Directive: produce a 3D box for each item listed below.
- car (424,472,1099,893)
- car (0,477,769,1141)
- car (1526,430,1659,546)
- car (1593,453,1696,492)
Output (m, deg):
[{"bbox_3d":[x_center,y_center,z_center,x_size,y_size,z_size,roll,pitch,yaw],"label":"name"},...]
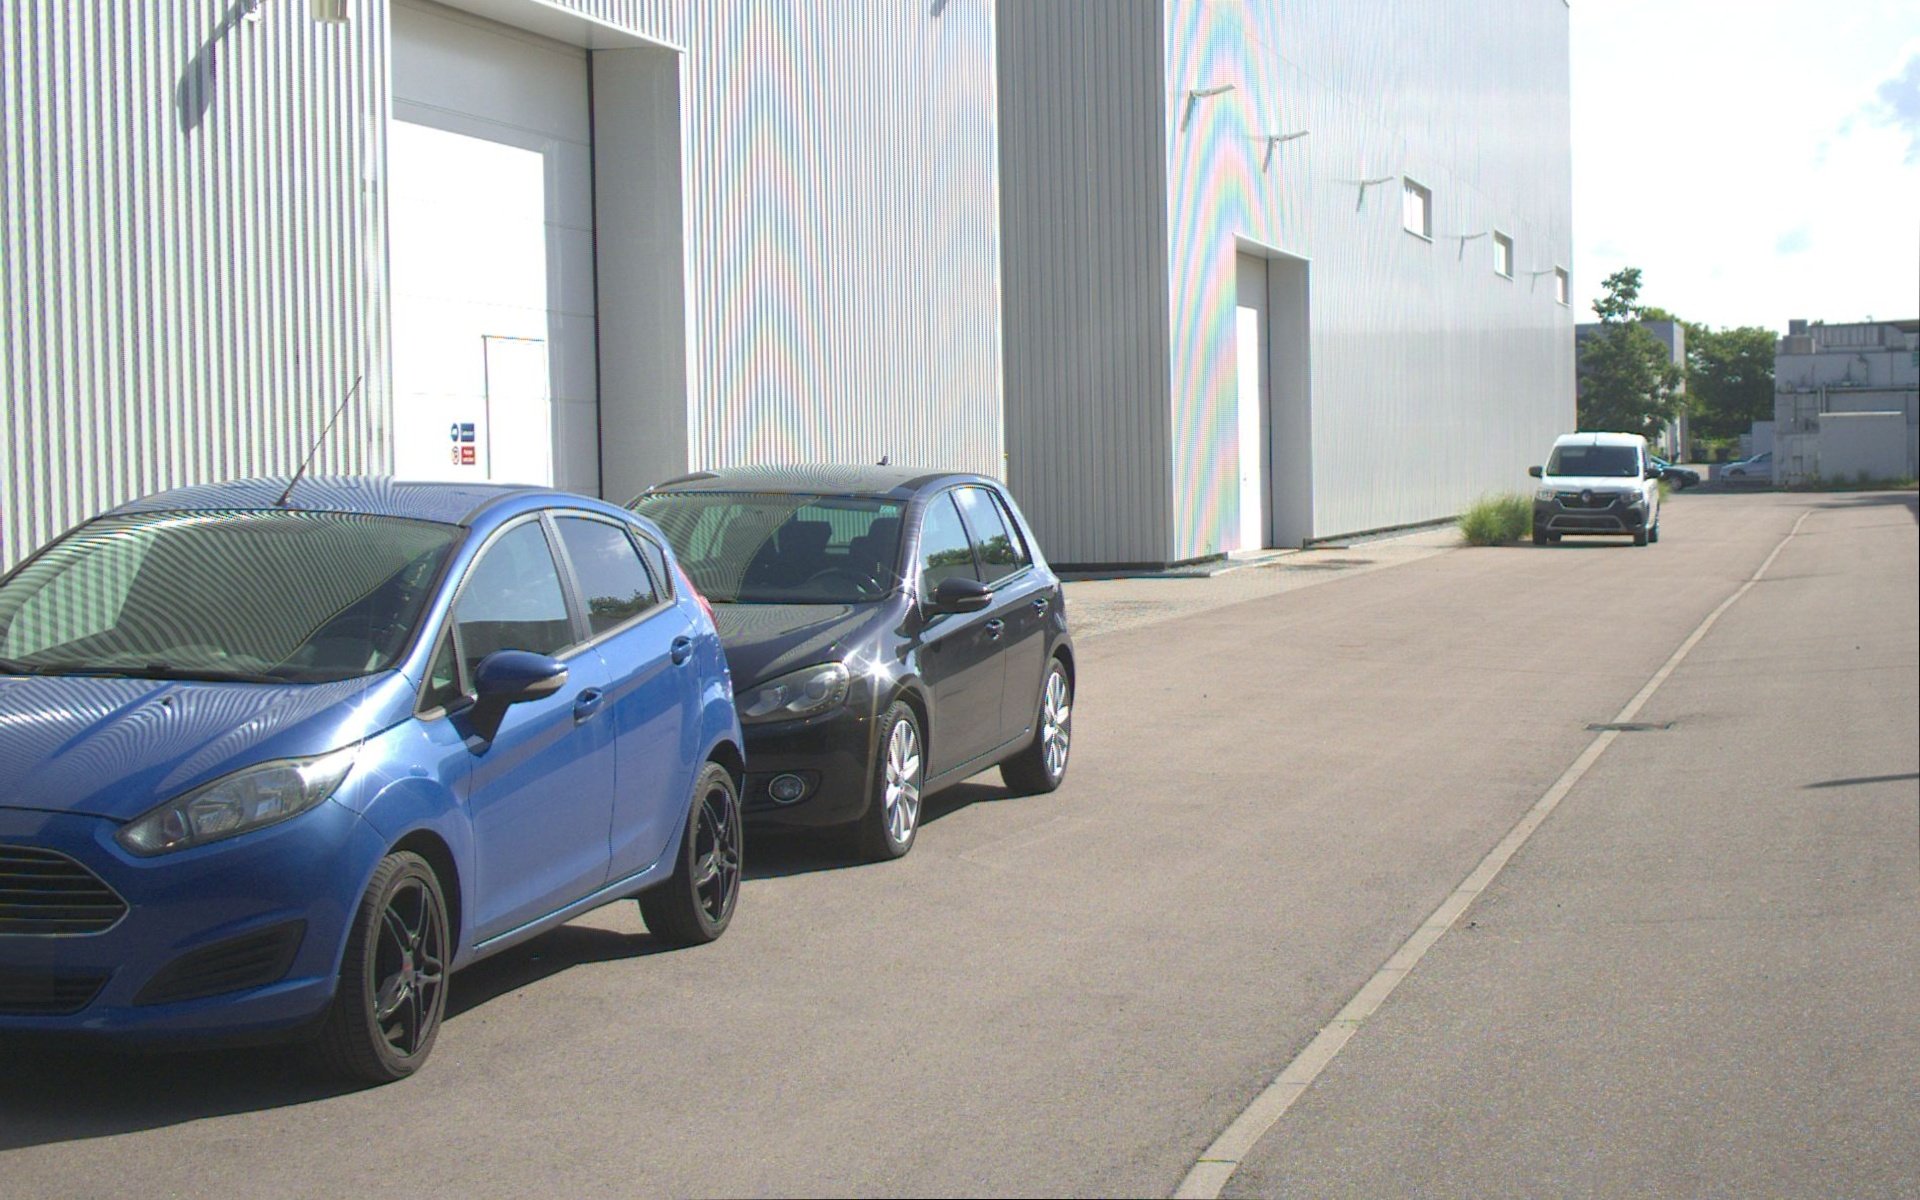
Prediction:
[{"bbox_3d":[-0.671,0.218,14.364,1.651,1.441,3.876,2,3,15],"label":"car"},{"bbox_3d":[-1.850,0.394,9.632,1.620,1.442,3.763,0,3,13],"label":"car"},{"bbox_3d":[10.290,-1.832,55.748,1.909,1.787,3.998,-1,2,13],"label":"car"},{"bbox_3d":[27.130,-5.064,136.204,3.887,1.456,1.622,-1,2,14],"label":"car"}]
